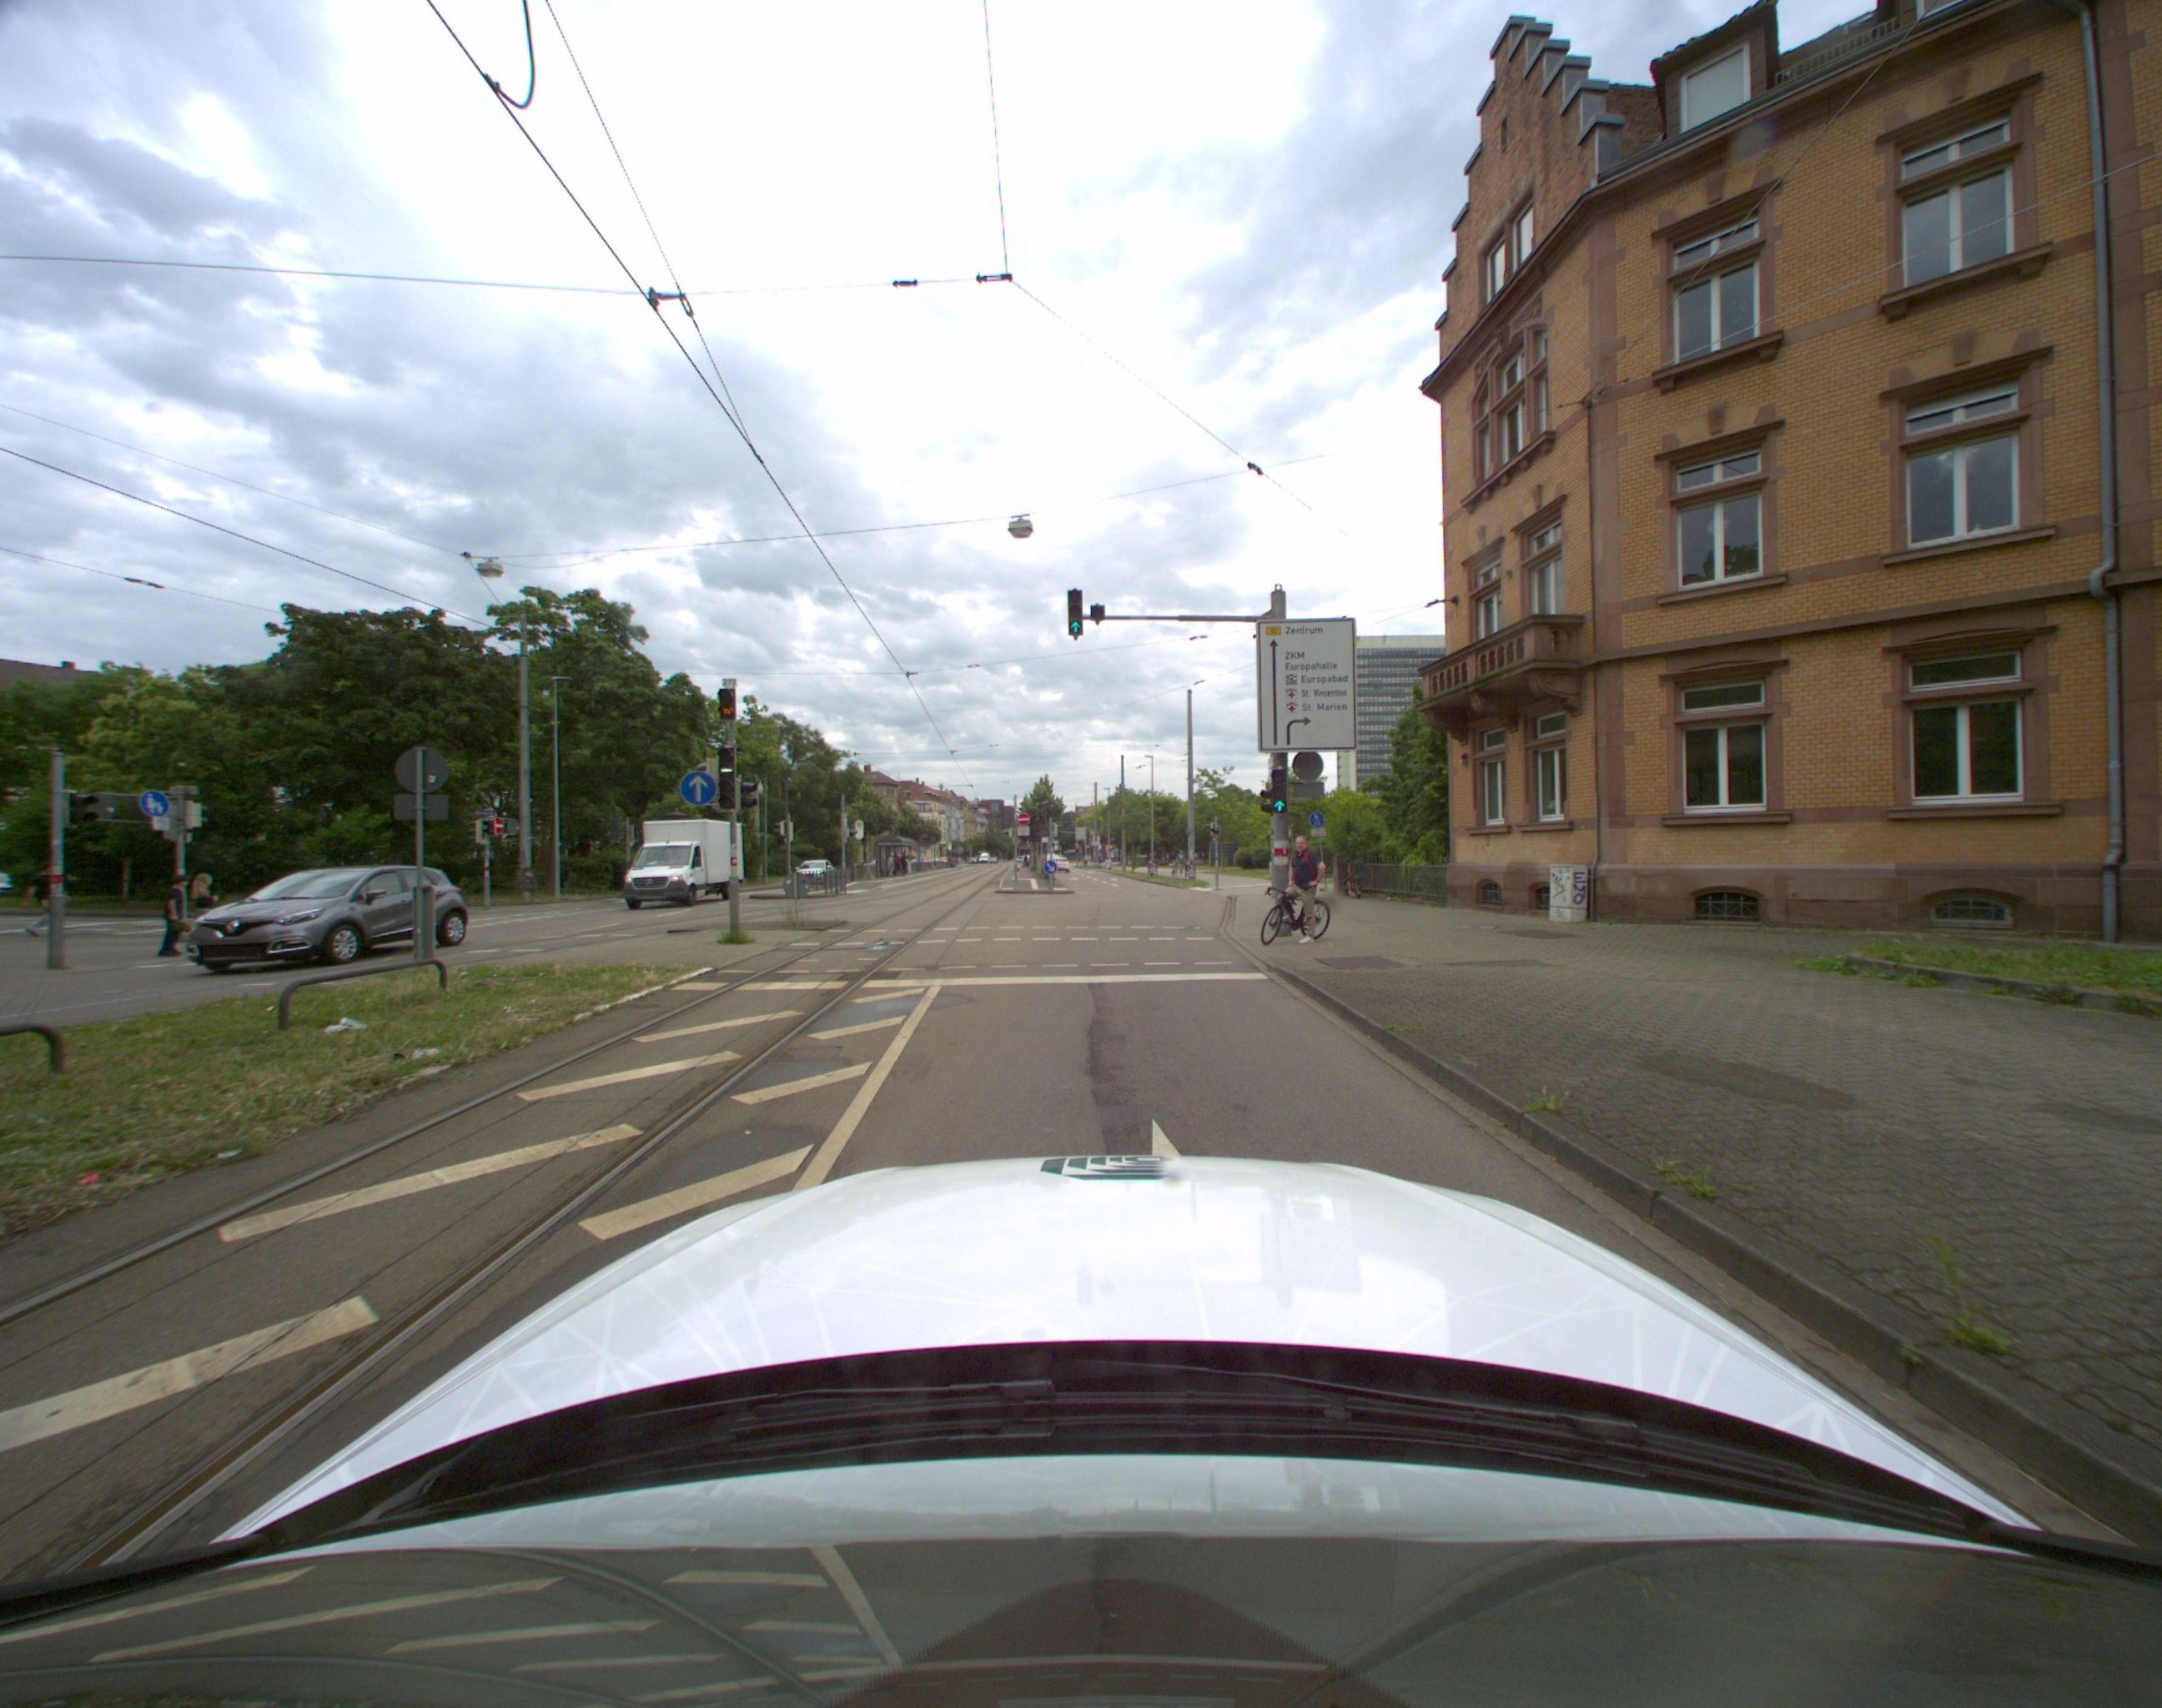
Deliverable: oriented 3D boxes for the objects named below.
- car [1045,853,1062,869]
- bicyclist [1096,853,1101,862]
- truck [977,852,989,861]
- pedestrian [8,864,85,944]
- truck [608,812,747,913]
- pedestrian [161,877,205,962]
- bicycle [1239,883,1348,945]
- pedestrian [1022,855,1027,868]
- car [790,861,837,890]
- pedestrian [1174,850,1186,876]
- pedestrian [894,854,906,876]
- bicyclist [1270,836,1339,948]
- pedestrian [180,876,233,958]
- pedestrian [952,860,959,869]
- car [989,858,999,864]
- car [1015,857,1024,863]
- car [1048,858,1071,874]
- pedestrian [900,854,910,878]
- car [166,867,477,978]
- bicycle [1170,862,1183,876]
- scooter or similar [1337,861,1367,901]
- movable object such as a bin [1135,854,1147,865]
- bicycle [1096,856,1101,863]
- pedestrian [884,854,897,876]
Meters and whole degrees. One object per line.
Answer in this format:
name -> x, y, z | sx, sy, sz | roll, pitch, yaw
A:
car -> -3.410, 0.857, 100.056 | 1.779, 1.962, 4.375 | 0, 0, -5
bicyclist -> 2.809, 0.575, 132.434 | 0.678, 1.379, 0.726 | -1, 0, -4
truck -> -22.197, 0.622, 185.198 | 1.781, 2.032, 5.398 | -1, 0, 2
pedestrian -> -25.302, 1.204, 19.923 | 0.825, 1.874, 1.052 | -1, 0, 31
truck -> -14.232, 0.290, 29.367 | 2.183, 3.157, 7.313 | -1, -1, -7
pedestrian -> -17.015, 1.224, 15.431 | 0.563, 1.557, 0.537 | -1, -1, 41
bicycle -> 3.633, 0.990, 13.849 | 1.876, 0.924, 0.788 | 0, 0, -37
pedestrian -> -6.904, 0.887, 100.006 | 0.530, 1.557, 0.570 | -1, 0, -1
car -> -16.221, 1.286, 49.610 | 1.768, 1.639, 4.527 | -1, 0, -6
pedestrian -> 7.103, 0.633, 58.317 | 0.738, 1.869, 0.681 | -1, 0, -5
pedestrian -> -13.988, 0.853, 62.815 | 0.768, 1.660, 1.022 | -1, 0, -7
bicyclist -> 3.750, 0.614, 13.687 | 0.685, 1.795, 0.881 | 0, 0, -36
pedestrian -> -17.190, 1.220, 16.015 | 0.535, 1.557, 0.565 | -1, 0, -27
pedestrian -> -17.803, 1.511, 115.642 | 0.864, 1.267, 0.692 | -1, 0, -7
car -> -21.165, 1.712, 198.322 | 1.763, 1.493, 3.889 | -1, 0, 2
car -> -14.551, 1.450, 192.939 | 1.765, 1.493, 3.884 | -1, 0, -1
car -> -2.105, 1.152, 79.668 | 1.781, 1.472, 3.999 | 0, 0, -8
pedestrian -> -12.856, 0.896, 59.447 | 0.700, 1.715, 0.696 | -1, 0, -13
car -> -12.404, 1.004, 13.737 | 1.641, 1.534, 4.124 | -1, 0, -6
bicycle -> 6.842, 1.050, 58.422 | 0.653, 1.003, 1.776 | -1, 0, -4
scooter or similar -> 8.135, 0.800, 24.496 | 0.375, 1.141, 1.196 | -1, 0, -7
movable object such as a bin -> 7.306, 0.656, 99.710 | 1.279, 1.390, 1.157 | -1, -1, -4
bicycle -> 2.828, 0.887, 132.425 | 0.678, 1.155, 1.895 | -1, 0, -4
pedestrian -> -13.954, 0.817, 59.614 | 0.637, 1.624, 0.672 | -1, -1, -41
